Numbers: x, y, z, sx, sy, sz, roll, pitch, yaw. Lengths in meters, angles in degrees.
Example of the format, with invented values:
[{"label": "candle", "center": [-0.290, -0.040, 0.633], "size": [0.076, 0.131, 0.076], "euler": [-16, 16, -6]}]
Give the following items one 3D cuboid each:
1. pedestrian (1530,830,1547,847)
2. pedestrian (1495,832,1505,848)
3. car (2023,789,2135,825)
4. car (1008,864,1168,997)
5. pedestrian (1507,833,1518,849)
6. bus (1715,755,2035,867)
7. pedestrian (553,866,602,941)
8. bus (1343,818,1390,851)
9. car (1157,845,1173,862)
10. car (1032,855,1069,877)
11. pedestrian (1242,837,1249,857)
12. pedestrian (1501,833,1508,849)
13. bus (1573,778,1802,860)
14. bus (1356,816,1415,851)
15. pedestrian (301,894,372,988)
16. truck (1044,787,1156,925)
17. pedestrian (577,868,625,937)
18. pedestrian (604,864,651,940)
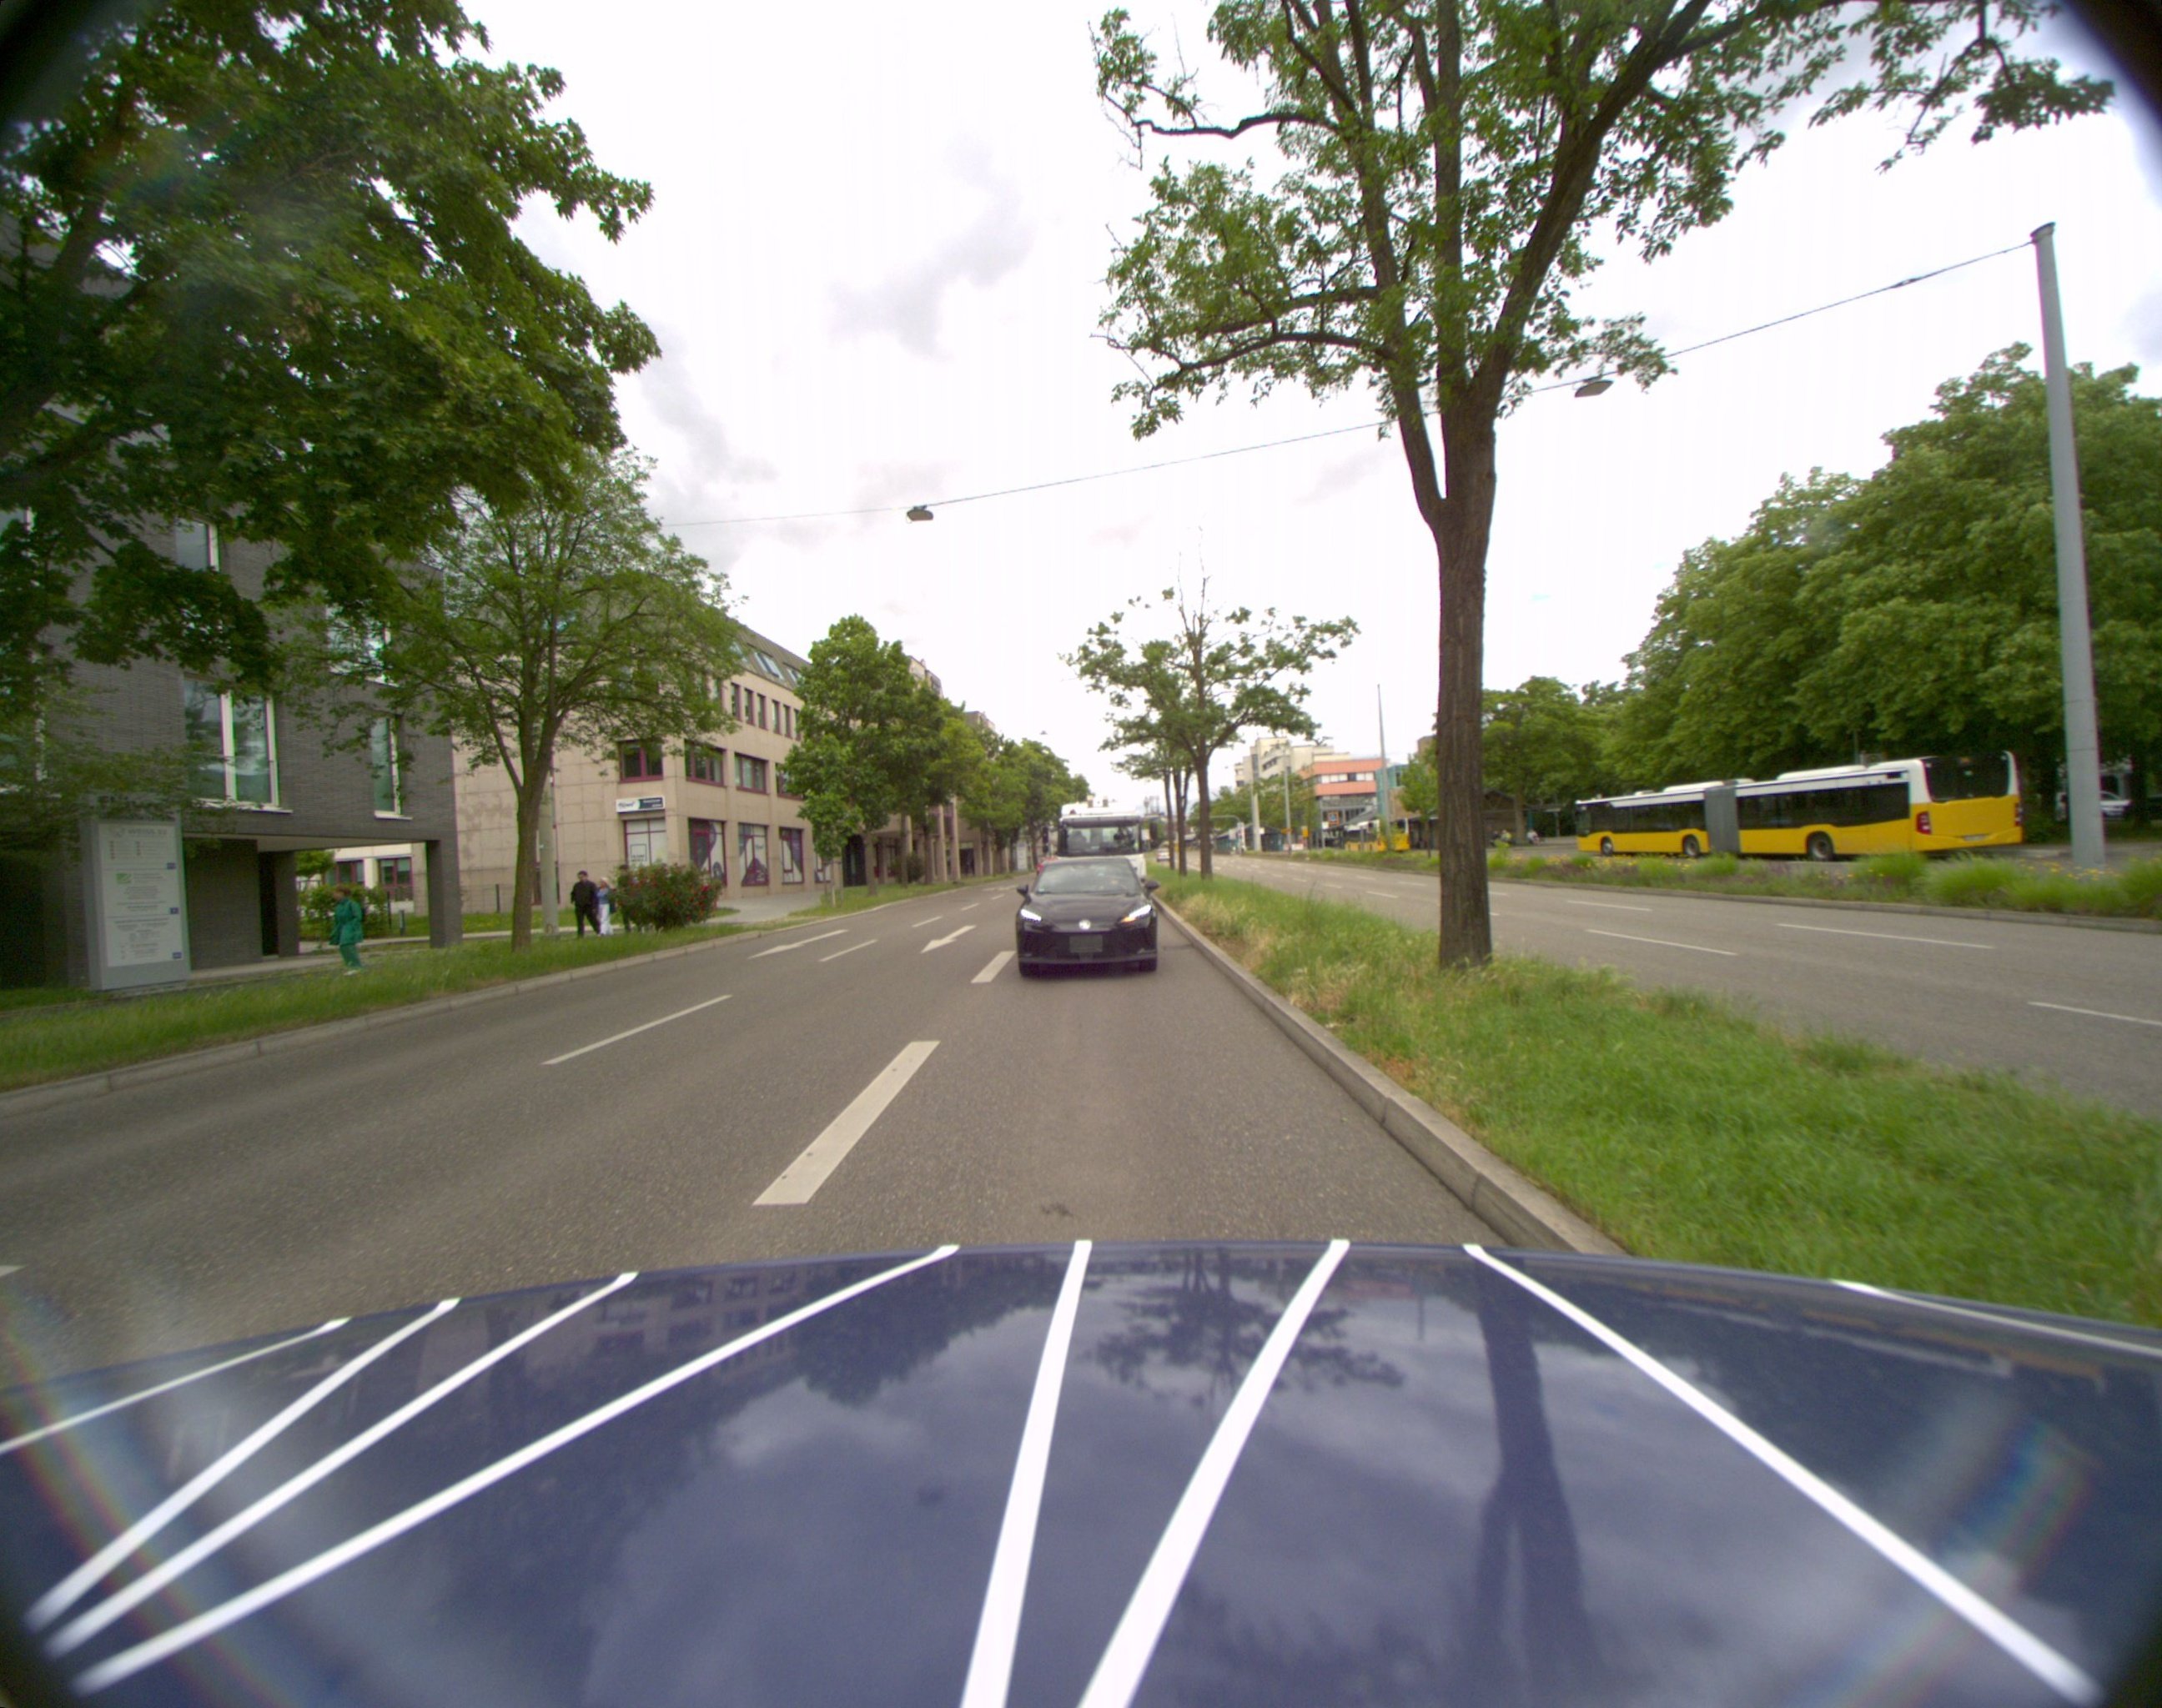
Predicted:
[{"label": "pedestrian", "center": [33.028, -1.104, 54.877], "size": [0.650, 1.165, 0.925], "euler": [-2, 1, 2]}, {"label": "pedestrian", "center": [31.819, -1.088, 57.673], "size": [0.598, 1.155, 0.744], "euler": [-2, 1, 24]}, {"label": "car", "center": [56.096, -2.594, 42.817], "size": [1.688, 1.740, 4.004], "euler": [-3, 0, 15]}, {"label": "car", "center": [0.142, 0.937, 11.009], "size": [1.827, 1.430, 4.000], "euler": [-3, 0, 2]}, {"label": "pedestrian", "center": [31.520, -0.967, 55.515], "size": [0.598, 1.155, 0.744], "euler": [-2, 1, 27]}, {"label": "bus", "center": [25.501, -1.210, 25.220], "size": [2.888, 2.985, 7.886], "euler": [-3, 0, 7]}, {"label": "pedestrian", "center": [-12.476, 1.214, 18.847], "size": [0.642, 1.794, 0.677], "euler": [-3, 1, 2]}, {"label": "bus", "center": [28.872, -1.918, 77.223], "size": [2.887, 2.985, 9.182], "euler": [-3, 0, 11]}, {"label": "car", "center": [11.023, -0.061, 99.796], "size": [1.726, 2.002, 4.001], "euler": [-3, 0, 4]}, {"label": "car", "center": [-2.244, 0.845, 56.781], "size": [1.997, 1.455, 4.002], "euler": [-3, 0, 8]}, {"label": "pedestrian", "center": [23.295, -0.988, 107.583], "size": [0.903, 2.772, 1.148], "euler": [-2, 1, 14]}, {"label": "pedestrian", "center": [31.052, -0.948, 55.742], "size": [0.367, 1.160, 0.899], "euler": [-2, 1, 27]}, {"label": "bus", "center": [26.540, -1.347, 34.228], "size": [2.888, 2.985, 10.398], "euler": [-3, 0, 7]}, {"label": "bus", "center": [27.229, -1.746, 68.403], "size": [2.887, 2.793, 9.181], "euler": [-3, 0, 10]}, {"label": "pedestrian", "center": [-12.562, 1.447, 12.837], "size": [0.496, 1.510, 0.677], "euler": [0, 1, 2]}, {"label": "truck", "center": [0.559, 0.050, 21.989], "size": [2.544, 3.187, 7.369], "euler": [-3, 0, 2]}, {"label": "pedestrian", "center": [-11.804, 1.186, 18.705], "size": [0.642, 1.637, 0.677], "euler": [-3, 1, 2]}, {"label": "pedestrian", "center": [-11.157, 1.158, 18.699], "size": [0.642, 1.794, 0.677], "euler": [-3, 1, 2]}]
